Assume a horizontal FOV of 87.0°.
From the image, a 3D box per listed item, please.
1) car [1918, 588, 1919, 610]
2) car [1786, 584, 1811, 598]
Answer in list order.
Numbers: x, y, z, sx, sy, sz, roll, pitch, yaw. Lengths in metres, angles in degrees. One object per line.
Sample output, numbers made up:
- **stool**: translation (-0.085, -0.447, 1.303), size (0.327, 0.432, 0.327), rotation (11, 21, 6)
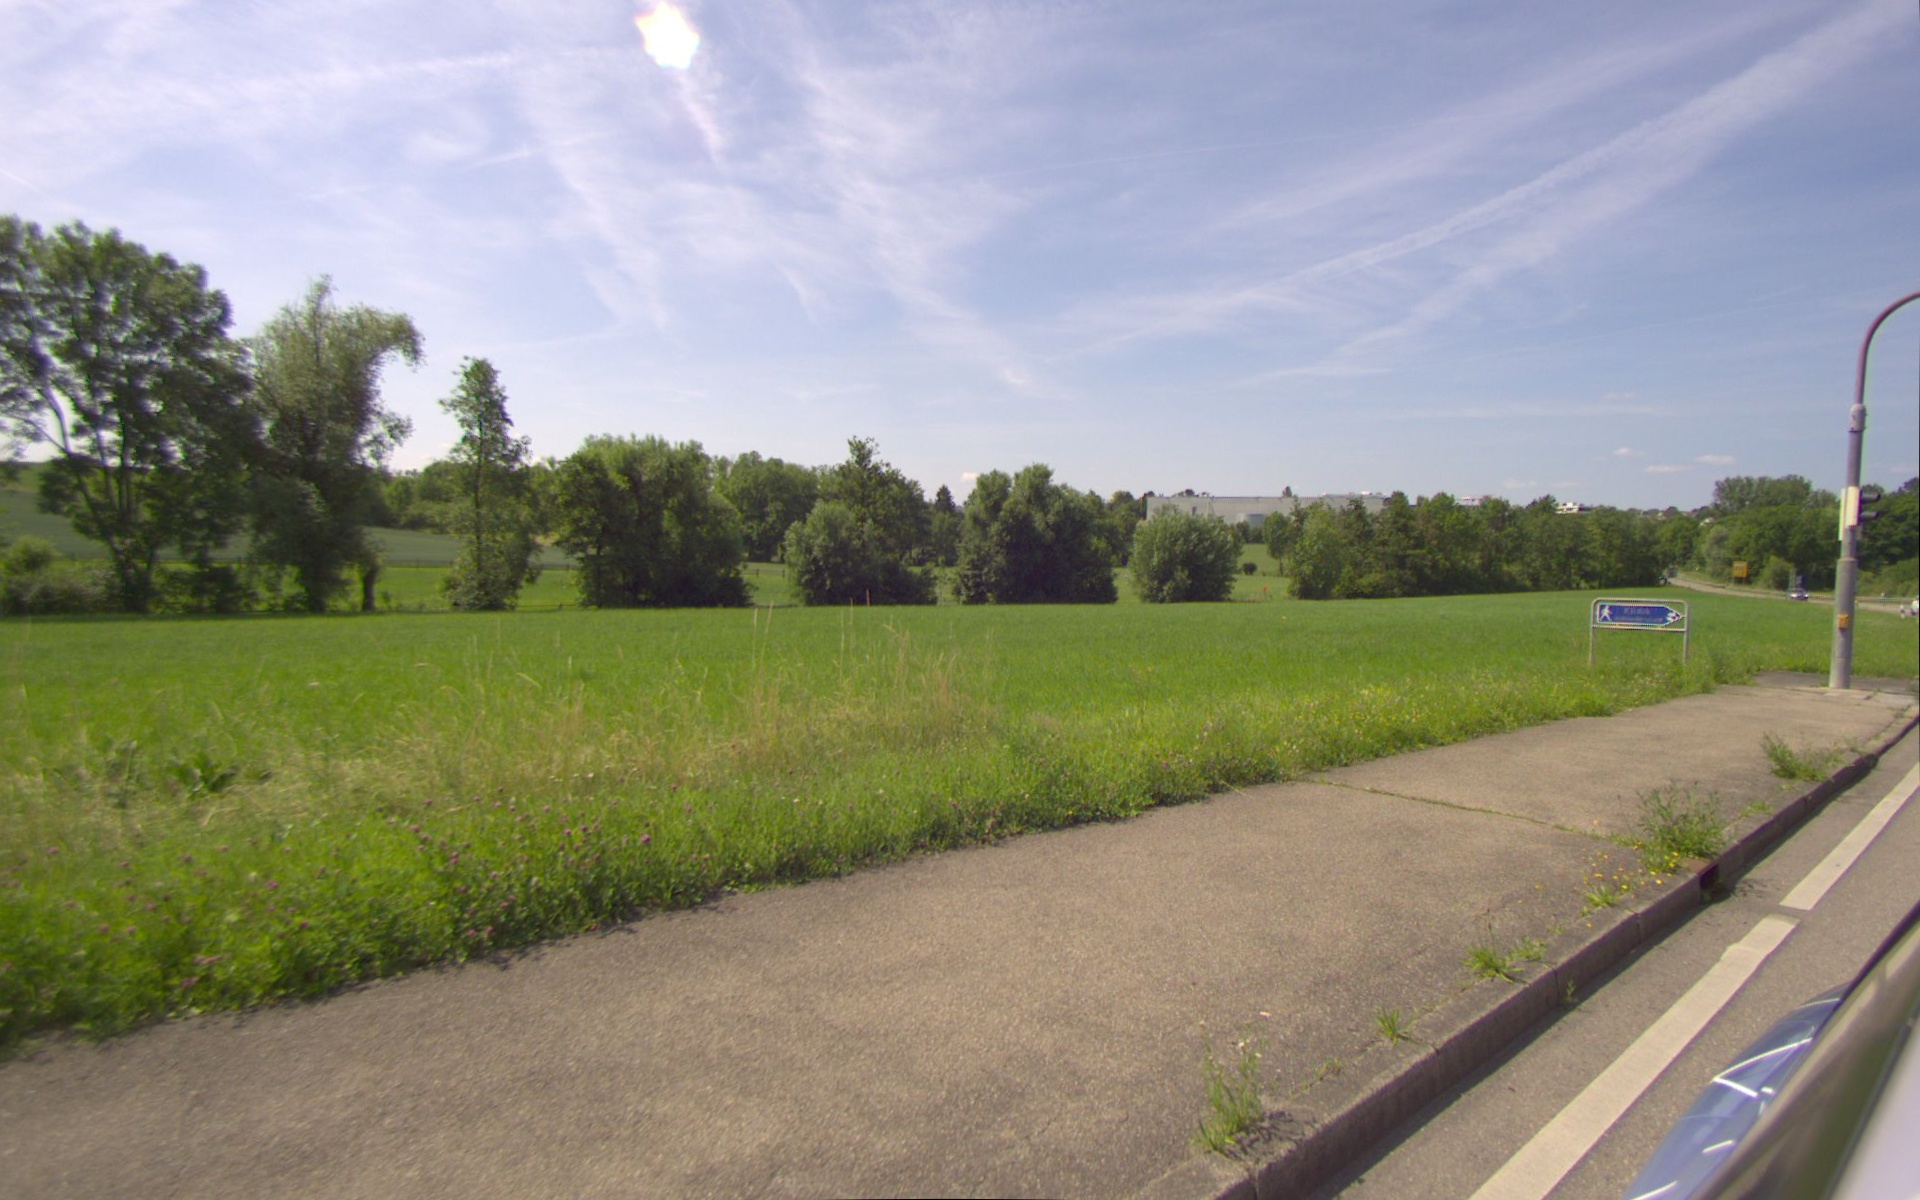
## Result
- **car**: translation (68.114, -0.037, 70.045), size (1.986, 1.605, 3.952), rotation (0, 1, 34)
- **car**: translation (103.300, -1.117, 124.749), size (1.986, 1.605, 3.952), rotation (1, 1, 34)
